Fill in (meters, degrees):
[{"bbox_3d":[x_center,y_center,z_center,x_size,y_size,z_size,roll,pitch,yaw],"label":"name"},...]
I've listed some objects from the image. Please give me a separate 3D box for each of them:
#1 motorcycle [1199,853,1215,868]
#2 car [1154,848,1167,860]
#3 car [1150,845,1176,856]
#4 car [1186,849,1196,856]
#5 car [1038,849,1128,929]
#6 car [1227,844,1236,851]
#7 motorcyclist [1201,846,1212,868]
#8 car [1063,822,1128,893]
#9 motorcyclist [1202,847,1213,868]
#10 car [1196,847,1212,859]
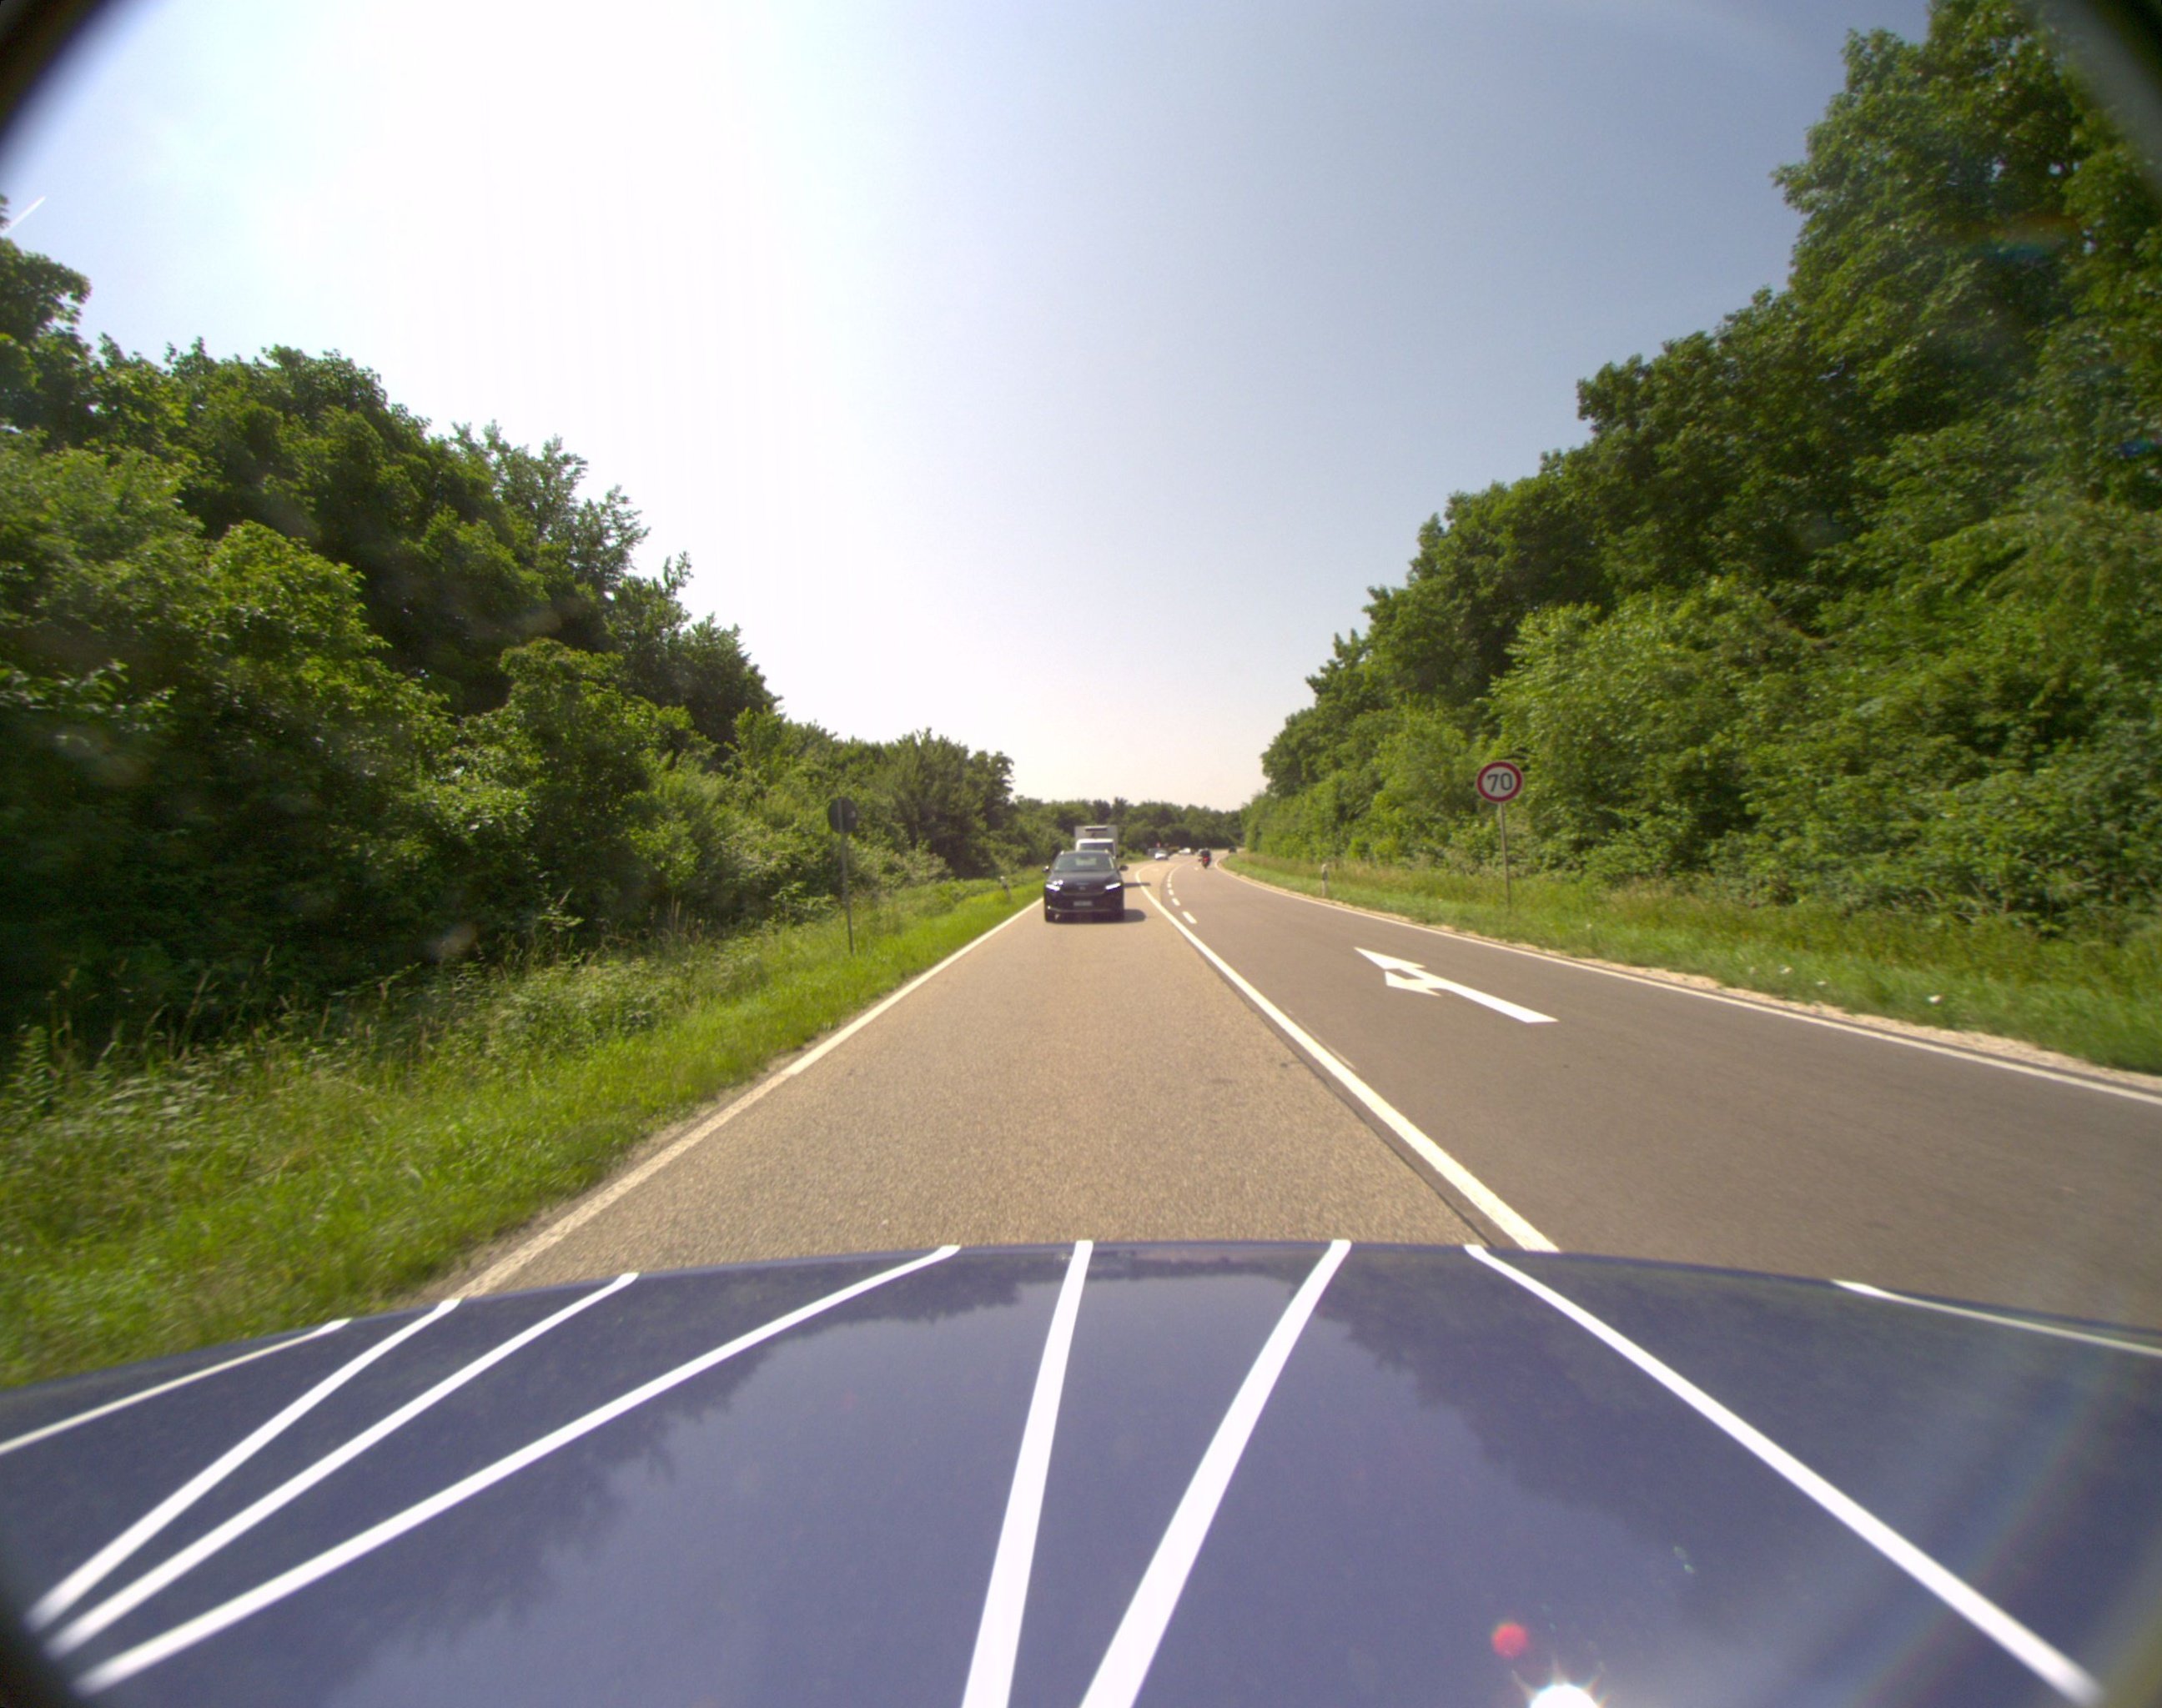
[{"bbox_3d":[10.912,0.566,65.878,0.949,1.243,2.682,-2,0,1],"label":"motorcycle"},{"bbox_3d":[12.904,-0.056,123.441,1.808,1.797,4.001,-2,0,4],"label":"car"},{"bbox_3d":[17.426,-0.727,161.679,5.227,1.896,2.012,-3,2,-2],"label":"car"},{"bbox_3d":[24.178,-0.277,166.594,1.711,1.411,4.101,-2,1,14],"label":"car"},{"bbox_3d":[0.115,0.776,19.735,1.924,1.711,5.479,-3,0,1],"label":"car"},{"bbox_3d":[34.085,-1.522,171.857,1.805,1.627,4.214,-2,0,9],"label":"car"},{"bbox_3d":[10.886,0.245,65.937,0.822,1.871,0.657,-2,1,1],"label":"motorcyclist"},{"bbox_3d":[0.840,0.069,37.100,2.591,3.047,6.882,-2,1,5],"label":"car"},{"bbox_3d":[10.858,0.319,65.179,0.832,1.742,0.623,-2,1,1],"label":"motorcyclist"},{"bbox_3d":[16.971,-0.175,104.792,1.806,1.627,4.213,-2,1,5],"label":"car"}]
